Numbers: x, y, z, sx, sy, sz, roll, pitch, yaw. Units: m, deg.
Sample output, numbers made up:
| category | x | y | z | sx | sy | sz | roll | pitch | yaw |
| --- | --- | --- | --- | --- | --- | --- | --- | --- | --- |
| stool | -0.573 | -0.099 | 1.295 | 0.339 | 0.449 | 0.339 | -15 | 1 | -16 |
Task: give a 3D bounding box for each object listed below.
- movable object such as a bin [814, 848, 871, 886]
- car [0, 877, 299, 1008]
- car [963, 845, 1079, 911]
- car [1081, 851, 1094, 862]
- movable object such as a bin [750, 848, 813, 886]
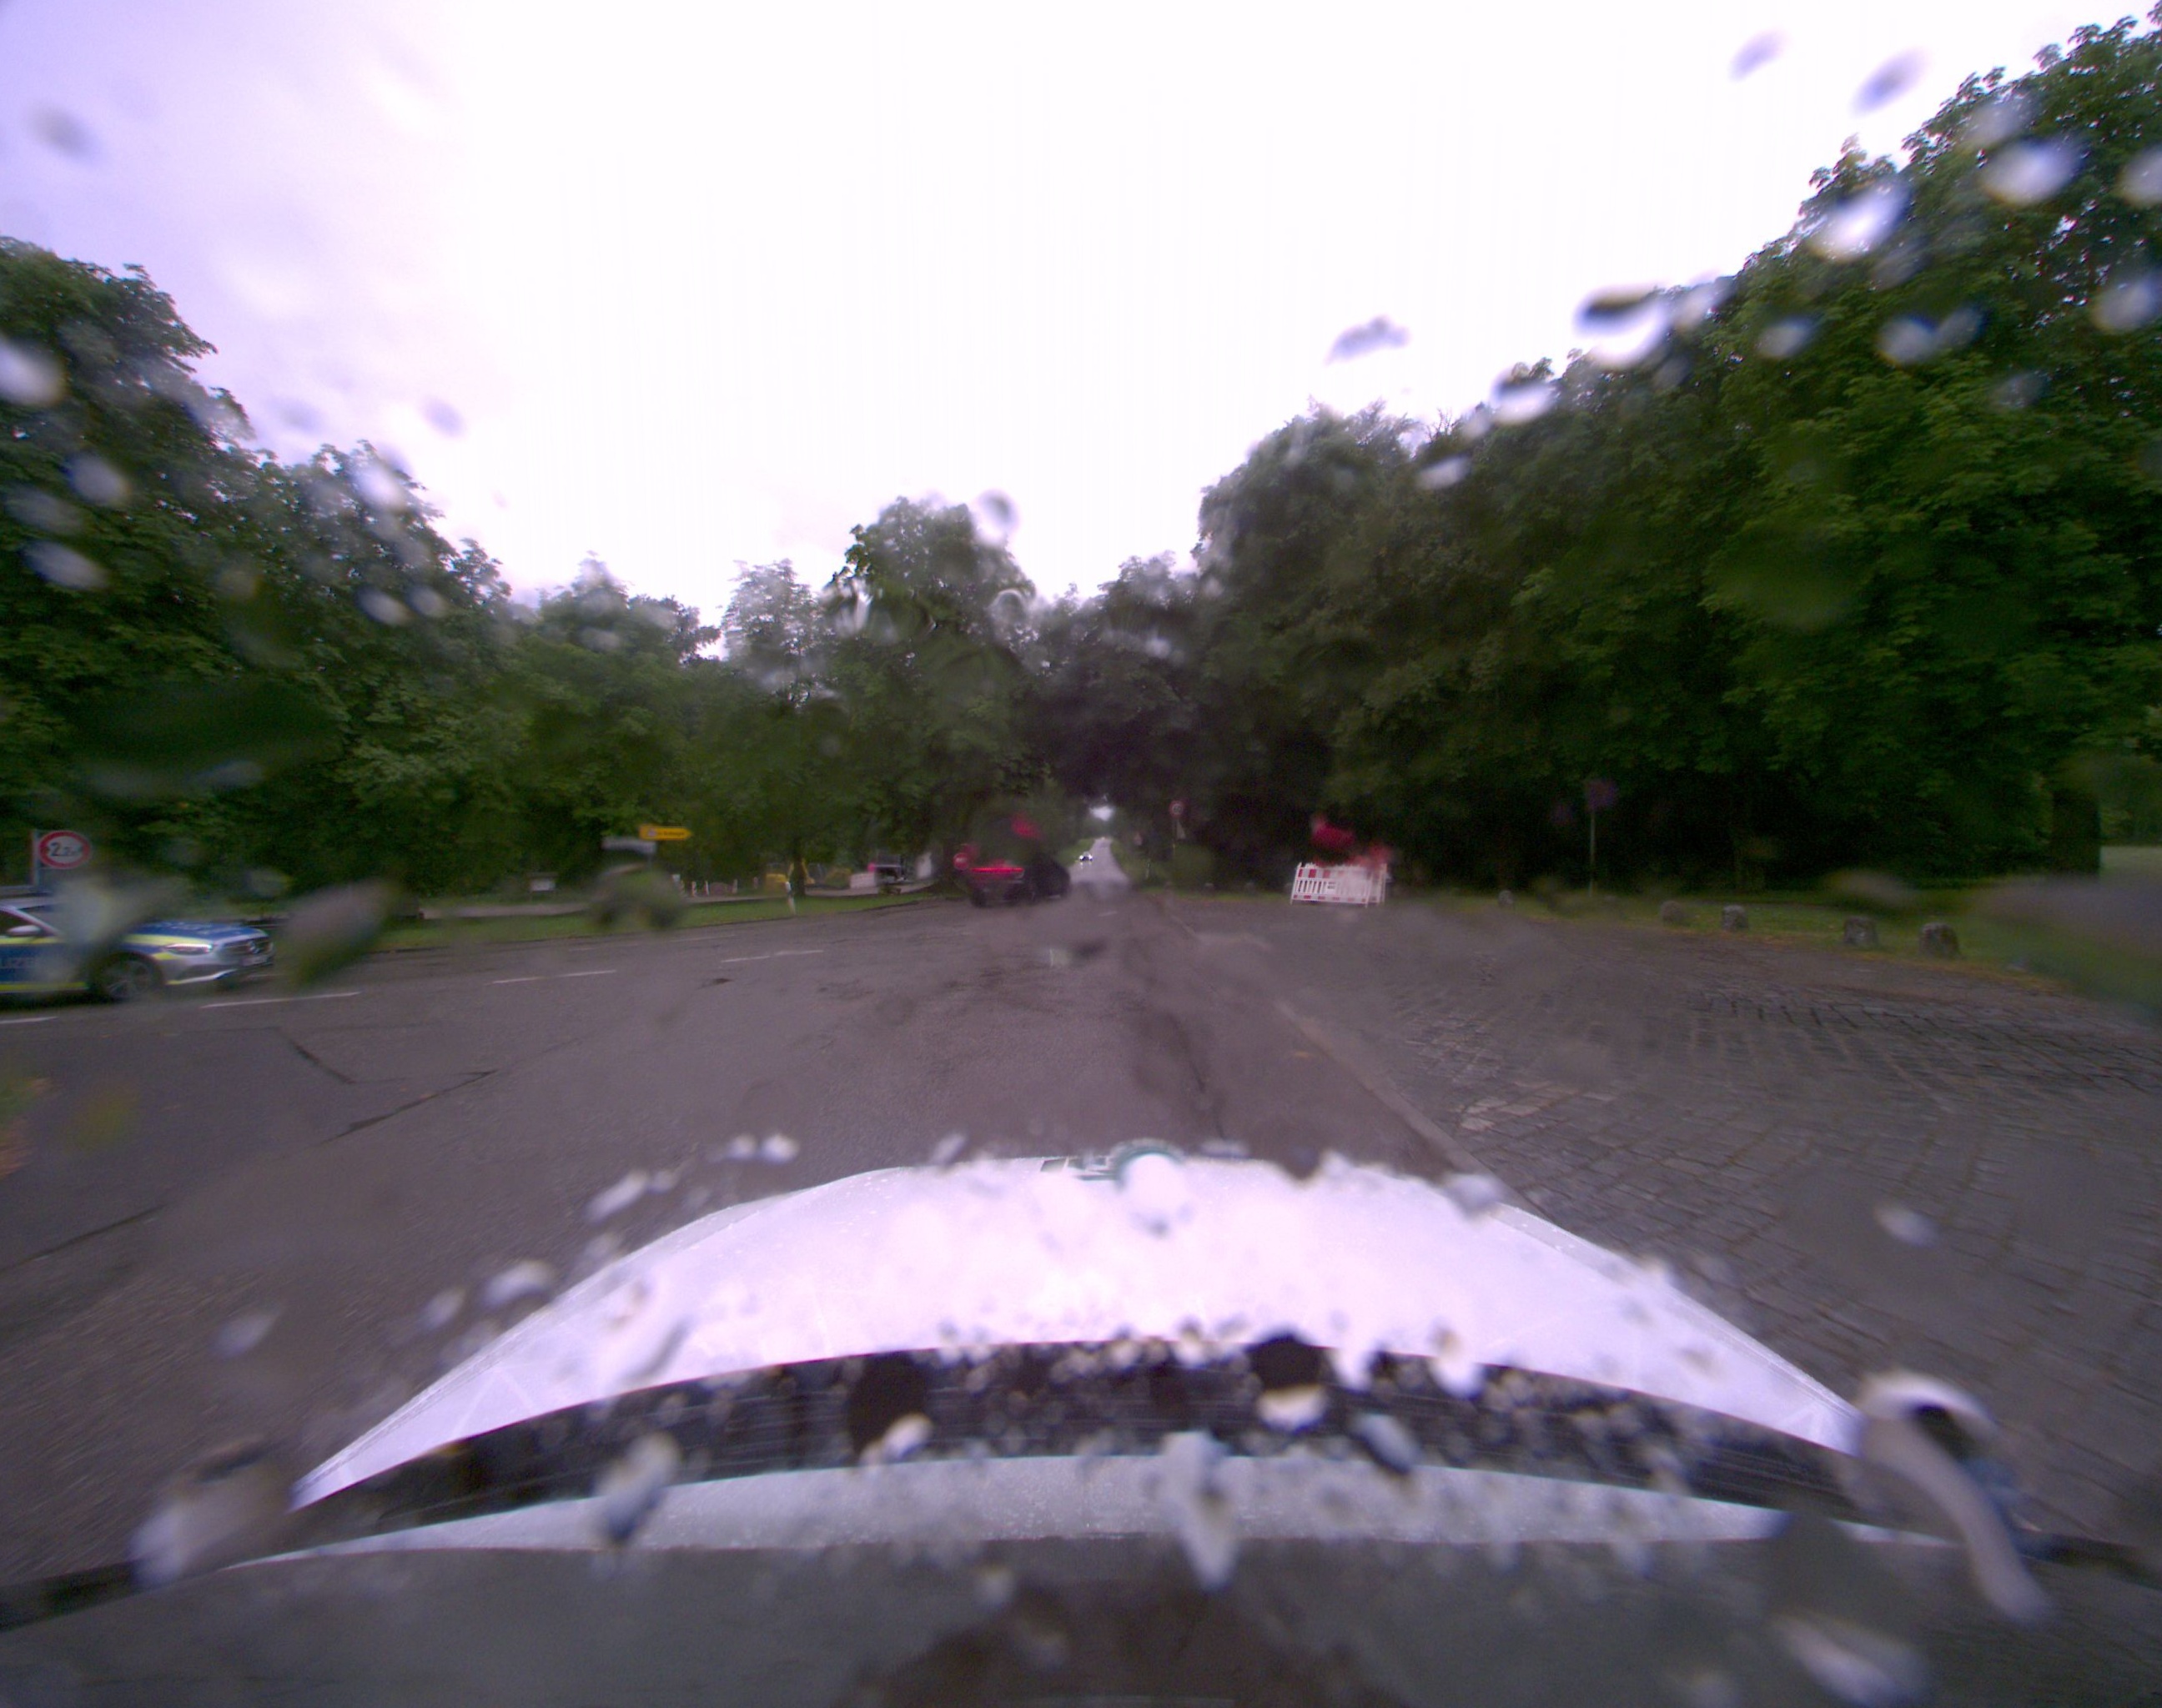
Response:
| category | x | y | z | sx | sy | sz | roll | pitch | yaw |
| --- | --- | --- | --- | --- | --- | --- | --- | --- | --- |
| movable object such as a bin | -22.278 | 1.214 | 76.194 | 4.581 | 3.294 | 3.654 | -2 | 0 | -10 |
| car | -14.554 | 1.221 | 11.407 | 4.897 | 1.600 | 1.722 | -2 | 0 | -16 |
| car | -1.702 | 0.651 | 24.861 | 1.711 | 1.708 | 4.599 | -2 | 1 | 20 |
| car | 1.086 | 0.342 | 133.025 | 1.986 | 1.717 | 4.002 | -2 | 0 | 2 |
| movable object such as a bin | -27.330 | 1.163 | 74.660 | 4.654 | 3.294 | 3.901 | -2 | 0 | -10 |
